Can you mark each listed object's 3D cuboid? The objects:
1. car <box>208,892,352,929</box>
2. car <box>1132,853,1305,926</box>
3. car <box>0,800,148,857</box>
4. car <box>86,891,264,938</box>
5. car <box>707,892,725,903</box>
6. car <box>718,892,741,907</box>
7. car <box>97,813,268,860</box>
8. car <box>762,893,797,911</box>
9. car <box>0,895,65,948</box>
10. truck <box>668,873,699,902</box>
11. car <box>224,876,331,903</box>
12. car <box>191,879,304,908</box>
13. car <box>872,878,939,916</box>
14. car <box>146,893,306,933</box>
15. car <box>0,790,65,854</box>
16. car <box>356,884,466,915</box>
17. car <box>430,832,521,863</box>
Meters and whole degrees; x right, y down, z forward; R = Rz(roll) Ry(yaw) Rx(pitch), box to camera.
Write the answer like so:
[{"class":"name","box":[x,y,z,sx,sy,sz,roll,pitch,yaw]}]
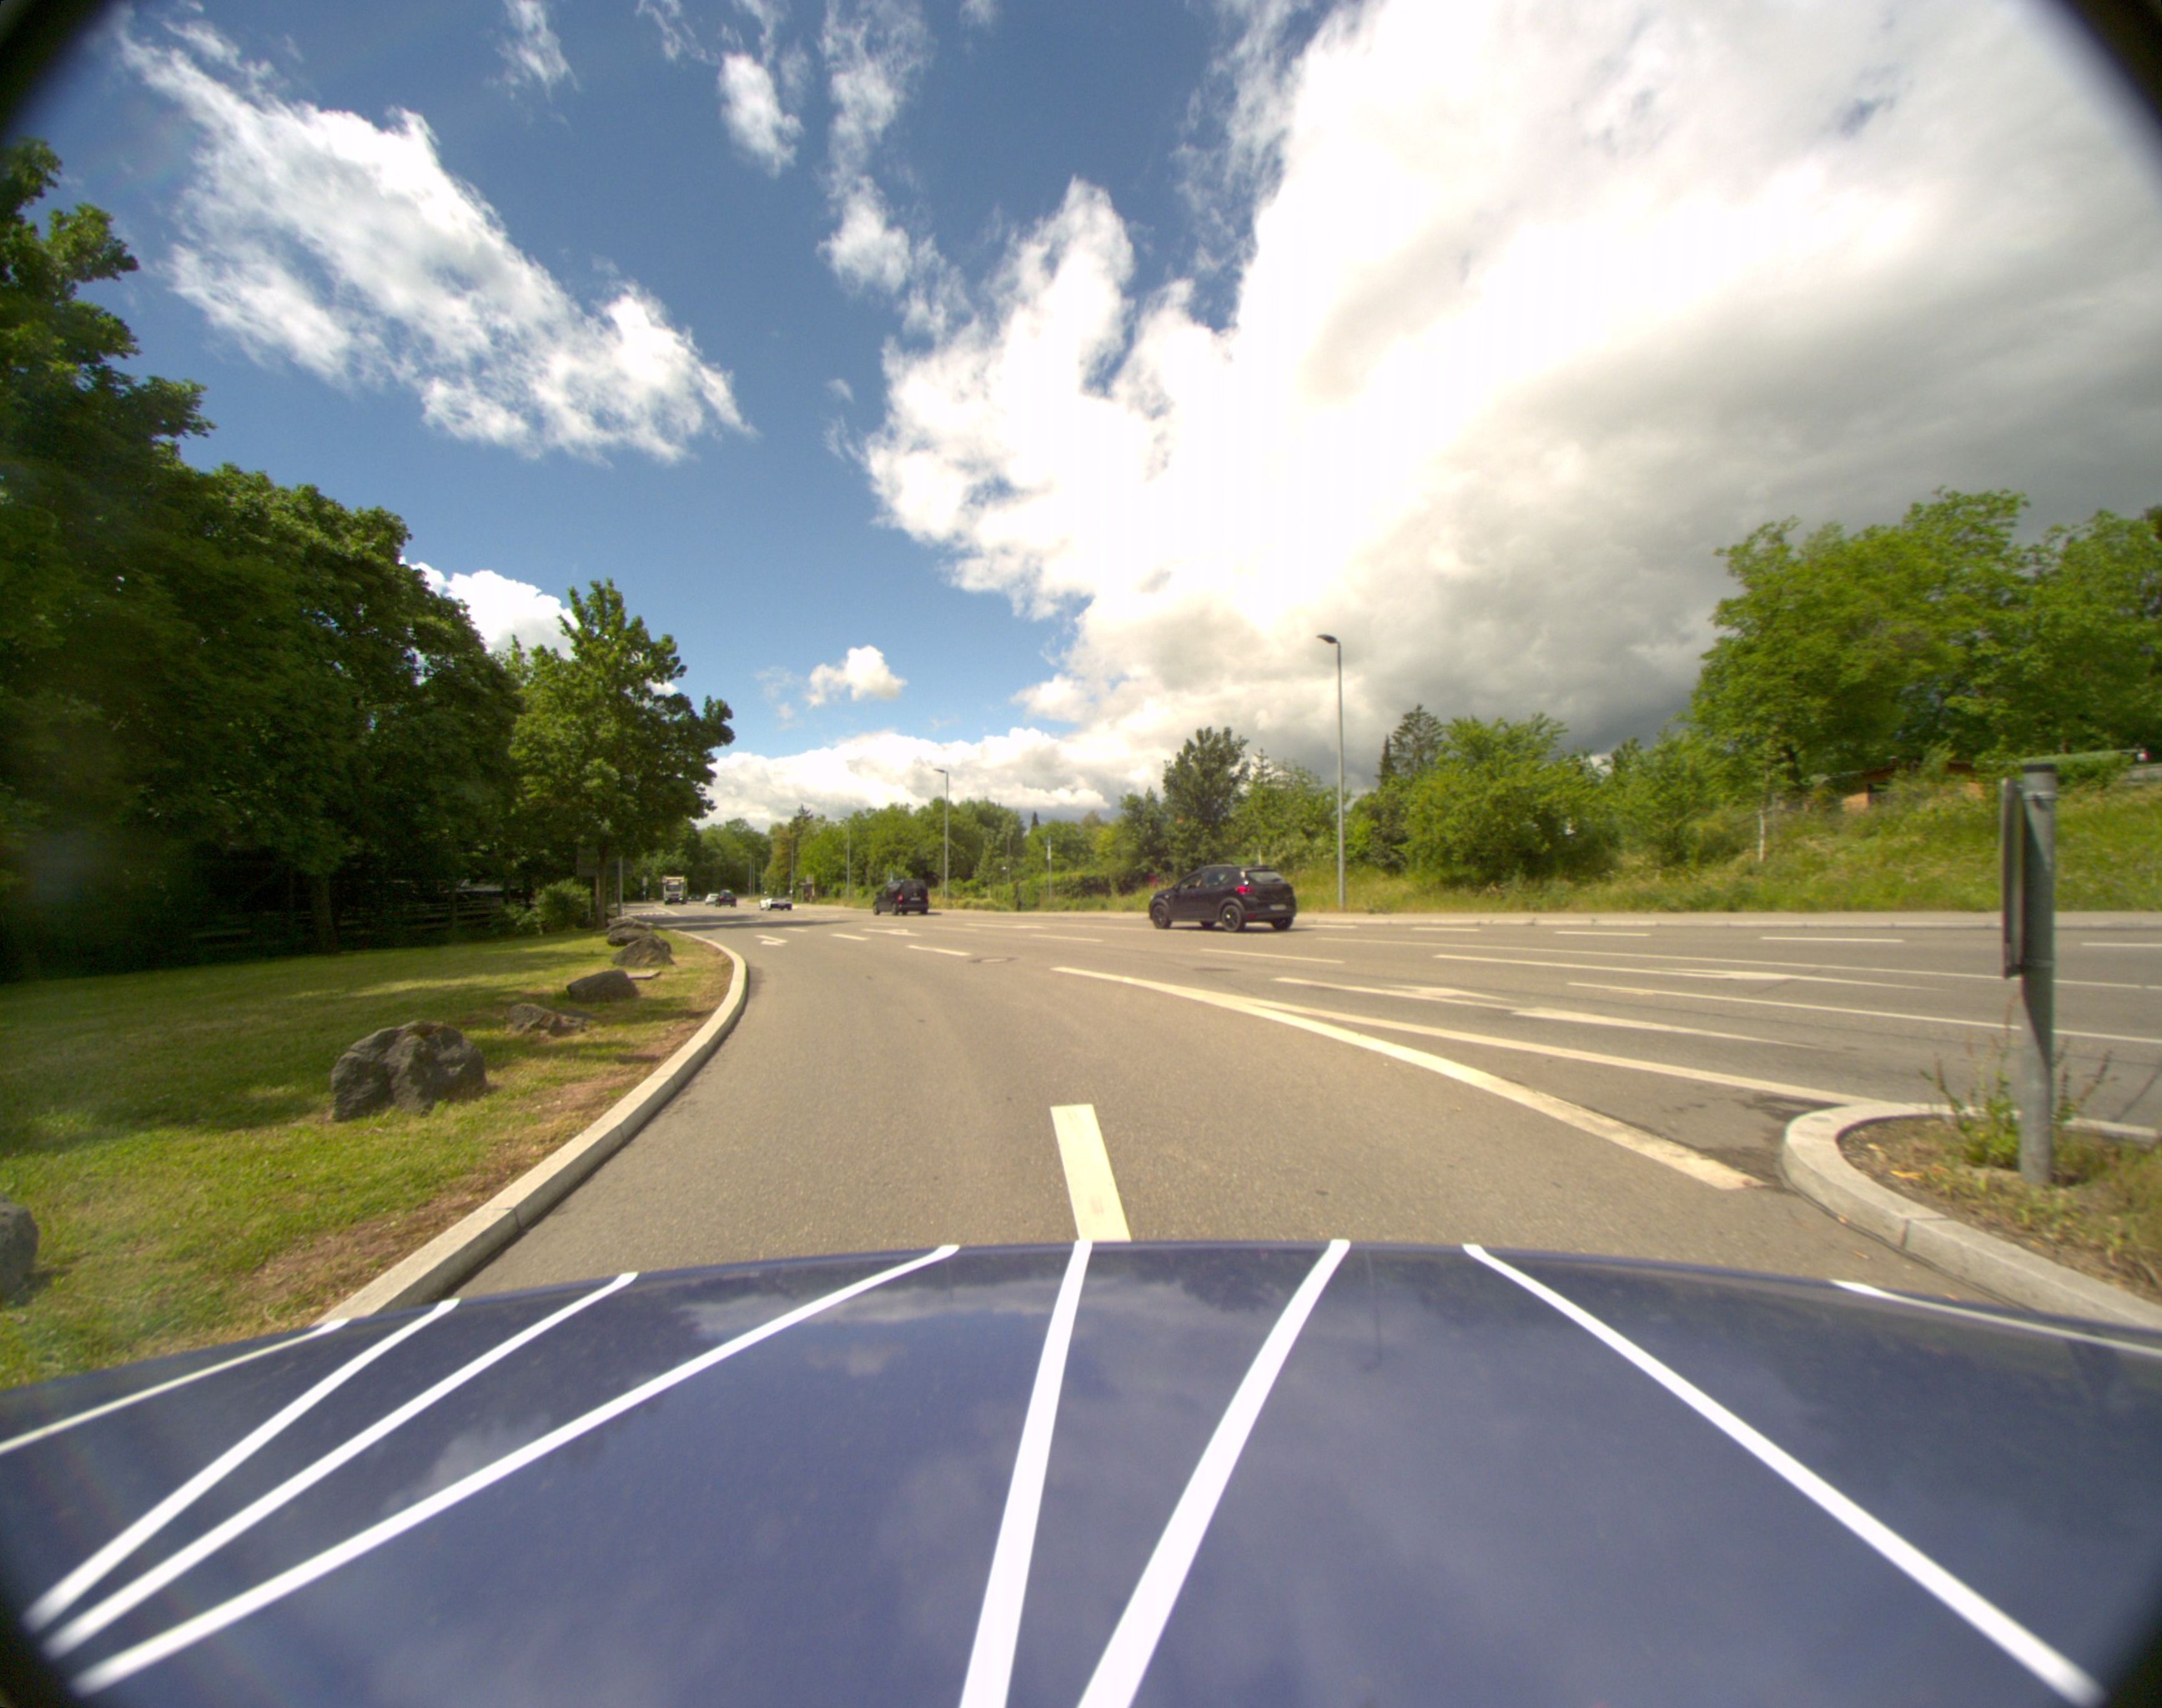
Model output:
[{"class":"car","box":[-32.878,2.297,31.297,3.857,1.384,1.694,-1,-1,-8]},{"class":"car","box":[3.253,0.836,18.775,1.794,1.568,4.155,-1,-1,-33]},{"class":"car","box":[-31.031,-0.732,22.737,3.703,1.532,1.727,-1,-3,-8]},{"class":"car","box":[-31.829,2.088,26.800,3.857,1.480,1.694,-1,-1,-8]},{"class":"car","box":[-48.677,5.810,101.259,1.775,1.433,3.891,1,-3,-31]},{"class":"car","box":[-39.974,5.143,86.423,1.830,1.644,4.523,1,-3,-32]},{"class":"car","box":[-32.066,-0.608,27.224,3.703,1.532,1.727,-1,-3,-8]},{"class":"car","box":[-24.801,3.909,62.391,1.914,1.283,4.599,1,-2,-32]},{"class":"car","box":[-30.770,1.861,20.519,3.857,1.384,1.776,-1,-1,-8]},{"class":"truck","box":[-55.709,4.618,106.680,3.248,3.836,9.855,2,-2,-24]},{"class":"car","box":[-45.558,2.030,43.156,3.857,1.476,1.752,1,-1,-8]},{"class":"car","box":[-44.867,2.130,40.959,3.857,1.476,1.694,1,-1,-8]},{"class":"car","box":[-9.200,2.267,39.590,1.794,1.767,4.802,-1,-4,-34]},{"class":"car","box":[-32.668,2.237,29.133,3.857,1.384,1.694,-1,-1,-8]},{"class":"car","box":[-30.718,-0.855,20.562,3.703,1.609,1.727,-1,-3,-8]},{"class":"car","box":[-33.580,2.268,38.185,3.857,1.384,1.694,-1,-1,-8]},{"class":"car","box":[-34.448,-0.339,43.308,3.703,1.631,1.659,-1,-3,-8]}]
